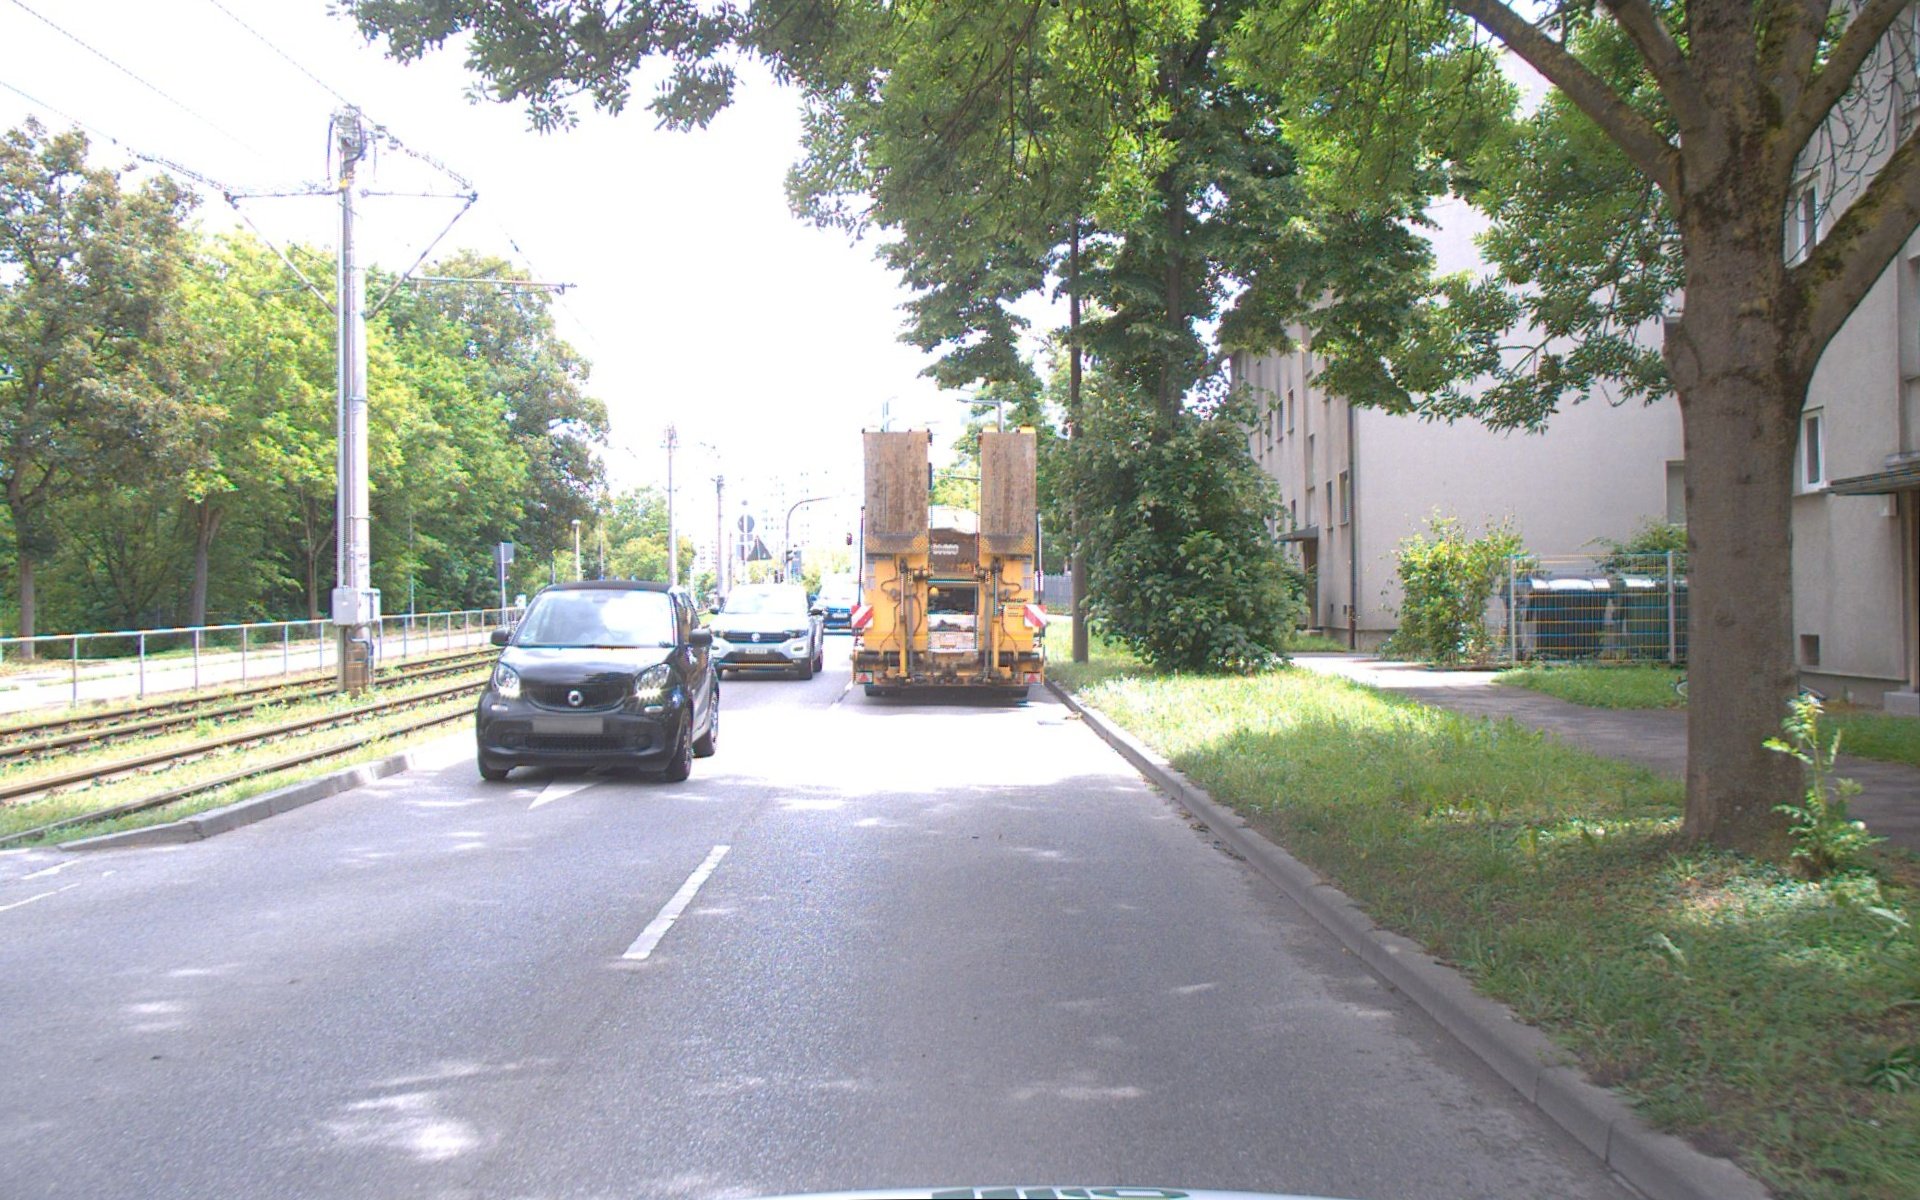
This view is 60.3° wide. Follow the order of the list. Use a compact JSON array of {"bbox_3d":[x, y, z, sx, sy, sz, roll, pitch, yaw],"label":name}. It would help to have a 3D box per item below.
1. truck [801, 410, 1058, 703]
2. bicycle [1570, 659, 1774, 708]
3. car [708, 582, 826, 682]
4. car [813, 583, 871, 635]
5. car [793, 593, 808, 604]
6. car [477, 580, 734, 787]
[{"bbox_3d":[-0.649,-0.501,27.368,3.249,3.715,12.555,0,-1,-2],"label":"truck"},{"bbox_3d":[8.572,0.998,19.982,2.157,0.516,0.674,1,-1,10],"label":"bicycle"},{"bbox_3d":[-3.273,0.489,28.628,1.682,1.571,3.999,1,1,-2],"label":"car"},{"bbox_3d":[-3.812,0.271,53.765,1.678,1.594,4.165,1,1,-2],"label":"car"},{"bbox_3d":[-22.612,-0.173,233.929,1.956,1.445,3.993,1,0,-8],"label":"car"},{"bbox_3d":[-2.920,0.619,14.224,1.604,1.560,3.273,1,1,-2],"label":"car"}]
